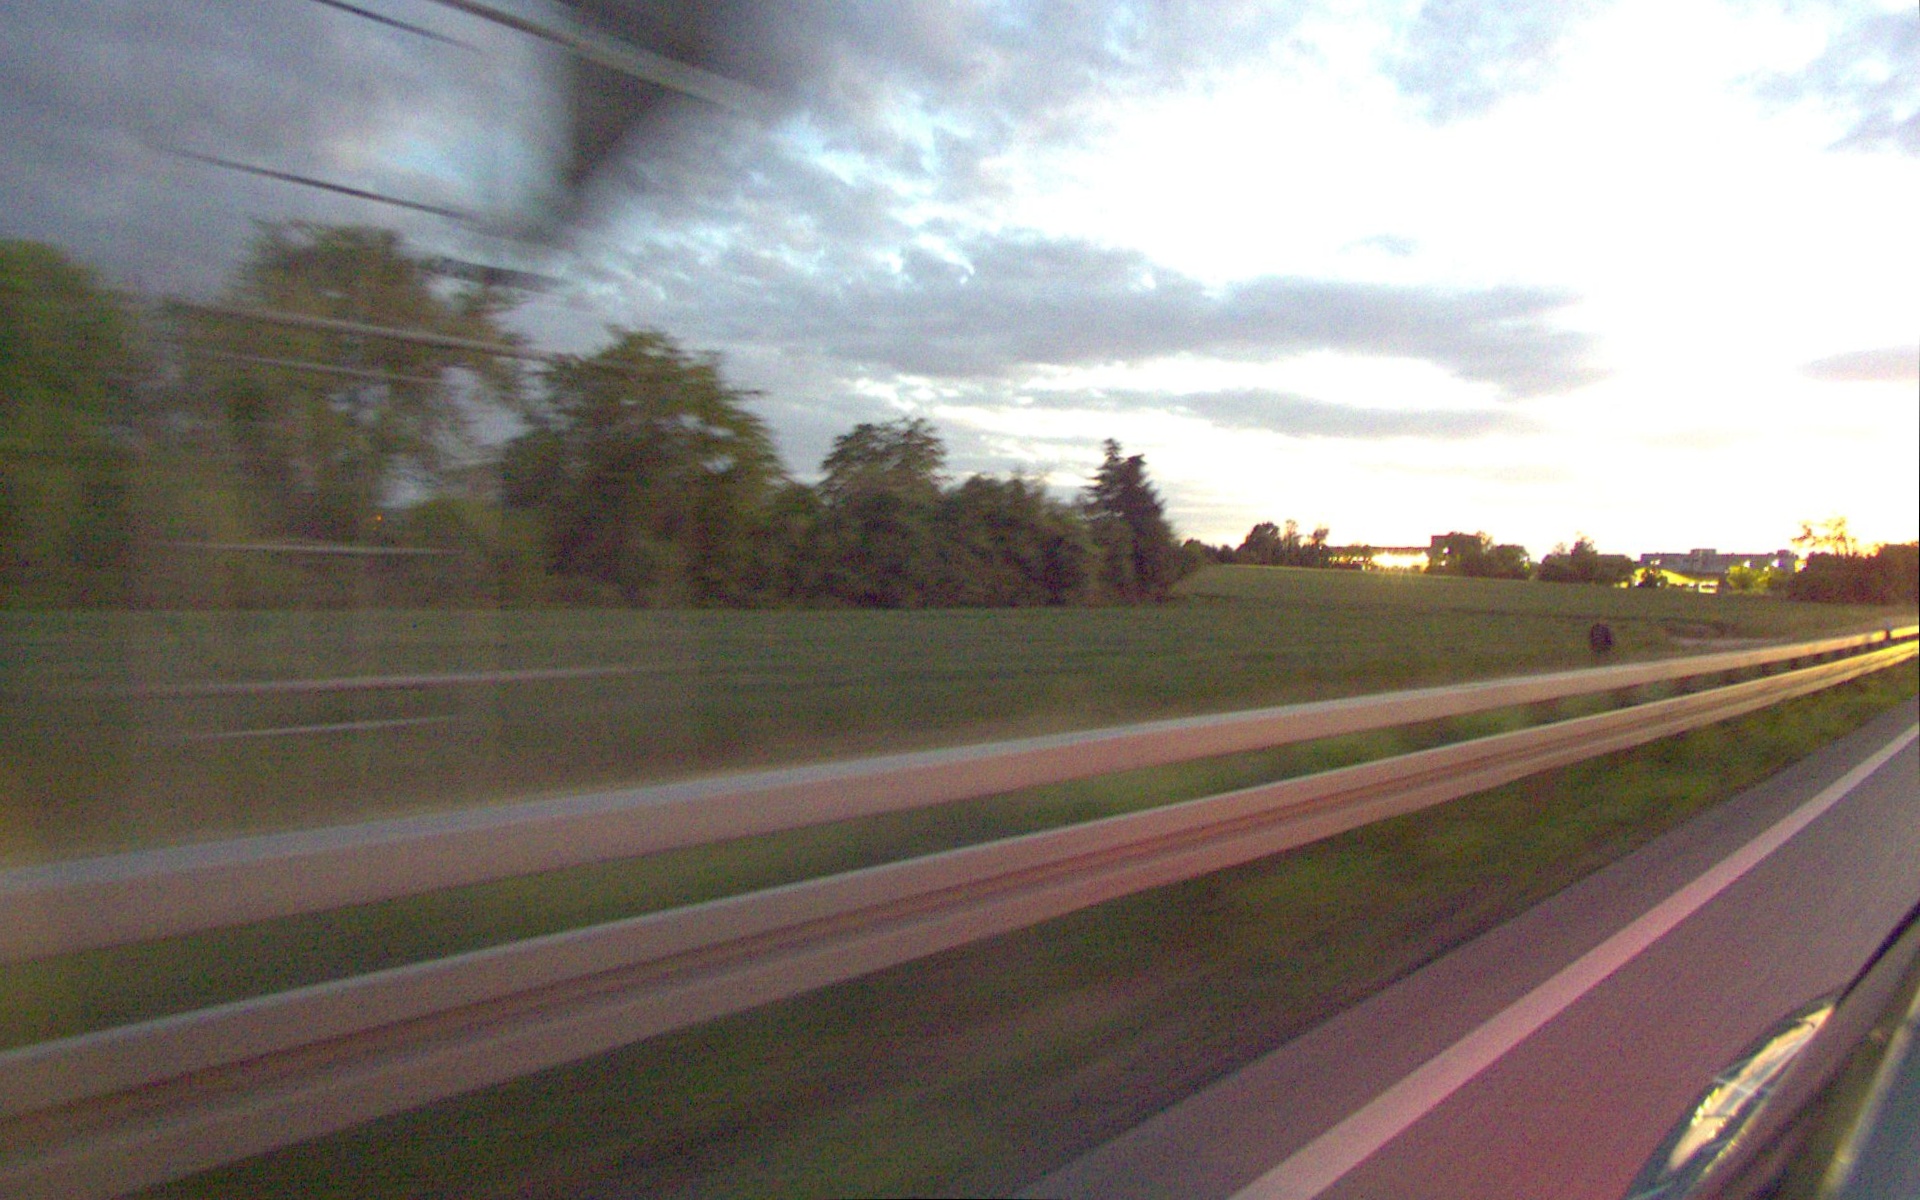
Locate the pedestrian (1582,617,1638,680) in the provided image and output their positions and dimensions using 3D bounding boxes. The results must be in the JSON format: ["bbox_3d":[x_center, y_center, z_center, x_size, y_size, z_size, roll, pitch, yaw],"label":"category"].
[{"bbox_3d":[18.110,1.337,28.199,1.099,1.664,1.063,0,0,-41],"label":"pedestrian"}]
